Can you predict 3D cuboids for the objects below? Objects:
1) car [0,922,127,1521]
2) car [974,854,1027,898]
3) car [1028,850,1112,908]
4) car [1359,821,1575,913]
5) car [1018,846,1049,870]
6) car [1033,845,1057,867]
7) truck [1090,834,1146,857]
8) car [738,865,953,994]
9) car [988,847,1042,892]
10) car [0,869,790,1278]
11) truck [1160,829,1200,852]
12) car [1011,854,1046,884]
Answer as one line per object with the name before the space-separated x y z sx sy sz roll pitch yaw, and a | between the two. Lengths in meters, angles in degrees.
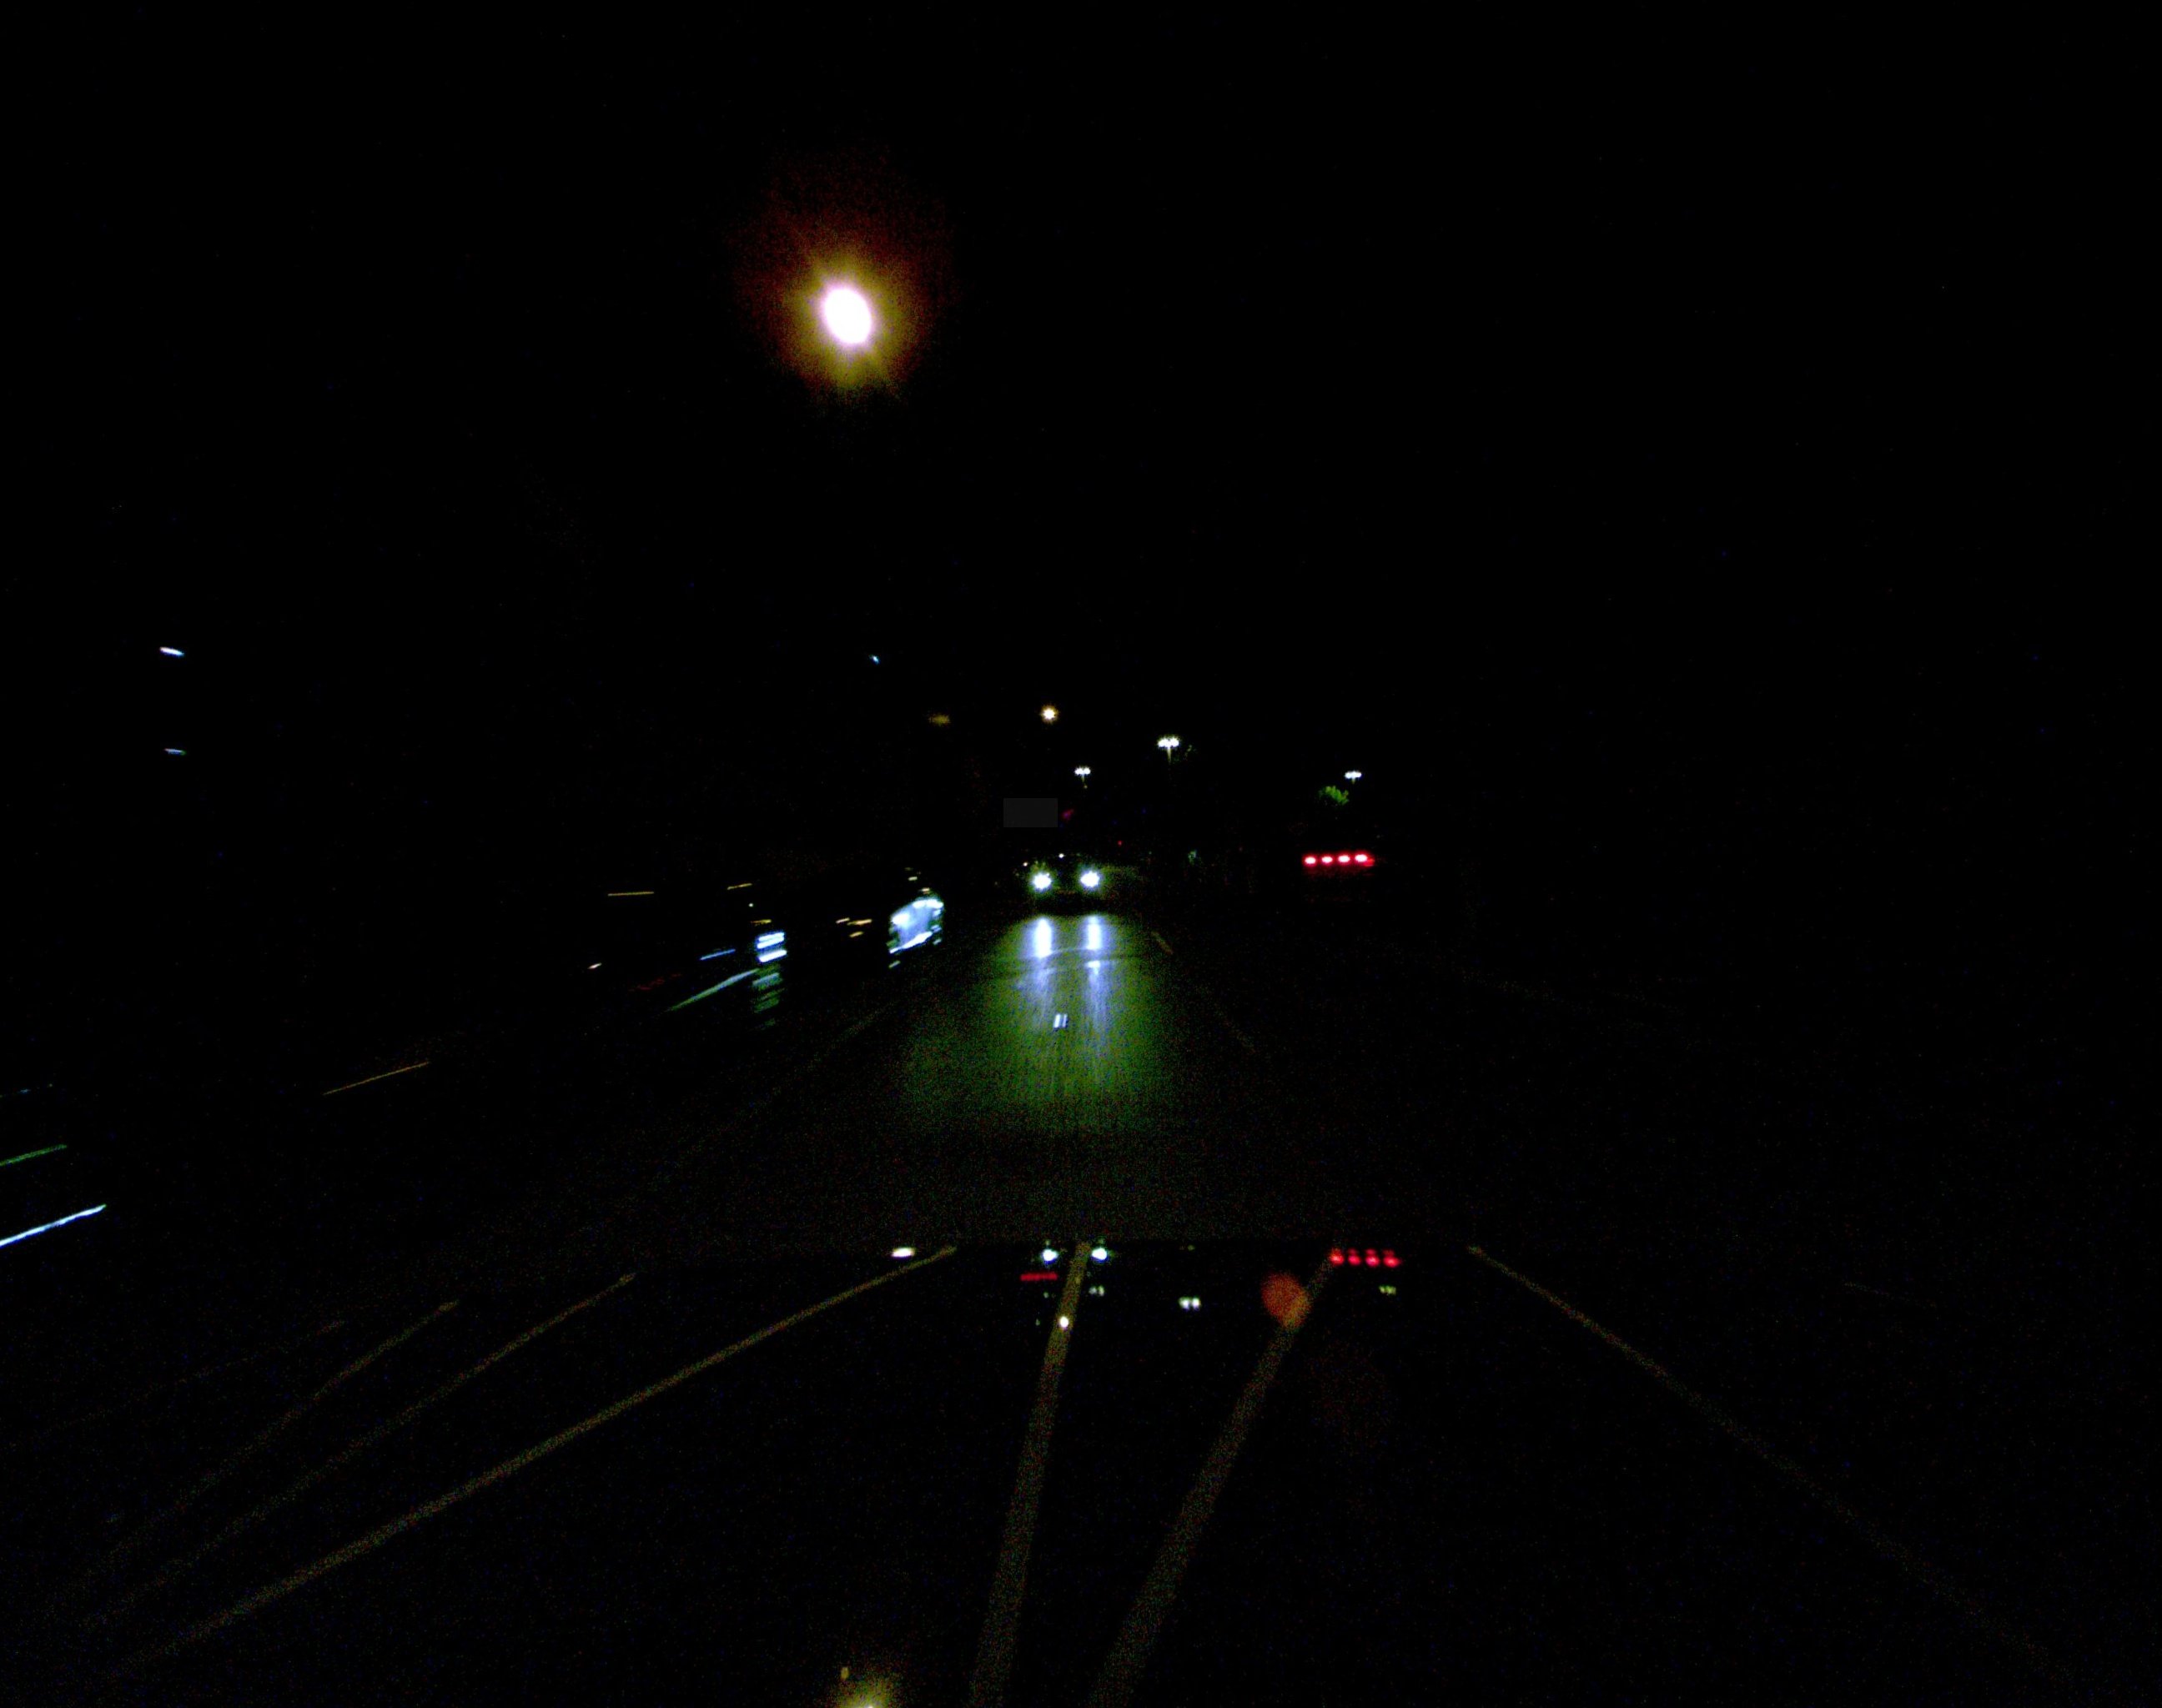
car | -3.531 0.979 0.258 1.599 1.458 3.718 -2 1 1
car | -3.242 0.837 31.173 1.824 1.590 4.219 1 1 -2
car | -0.247 0.696 23.593 1.997 1.607 4.002 -1 1 8
car | 8.523 0.284 17.146 3.993 1.878 1.910 -2 1 13
car | -3.098 0.216 50.263 1.748 1.500 4.832 0 1 0
car | -2.877 0.101 61.297 1.748 1.673 4.257 0 1 0
truck | 6.287 -1.473 129.312 9.340 3.701 2.002 -1 2 16
car | -3.335 0.988 11.804 1.783 1.418 4.480 -2 1 2
car | -3.073 0.671 36.599 2.077 1.917 5.369 0 1 0
car | -3.556 0.909 4.936 1.783 1.418 3.891 -2 1 0
truck | 16.573 -2.233 127.010 6.196 3.673 2.403 -2 2 13
car | -3.038 0.850 44.842 1.748 1.557 4.209 0 1 0
